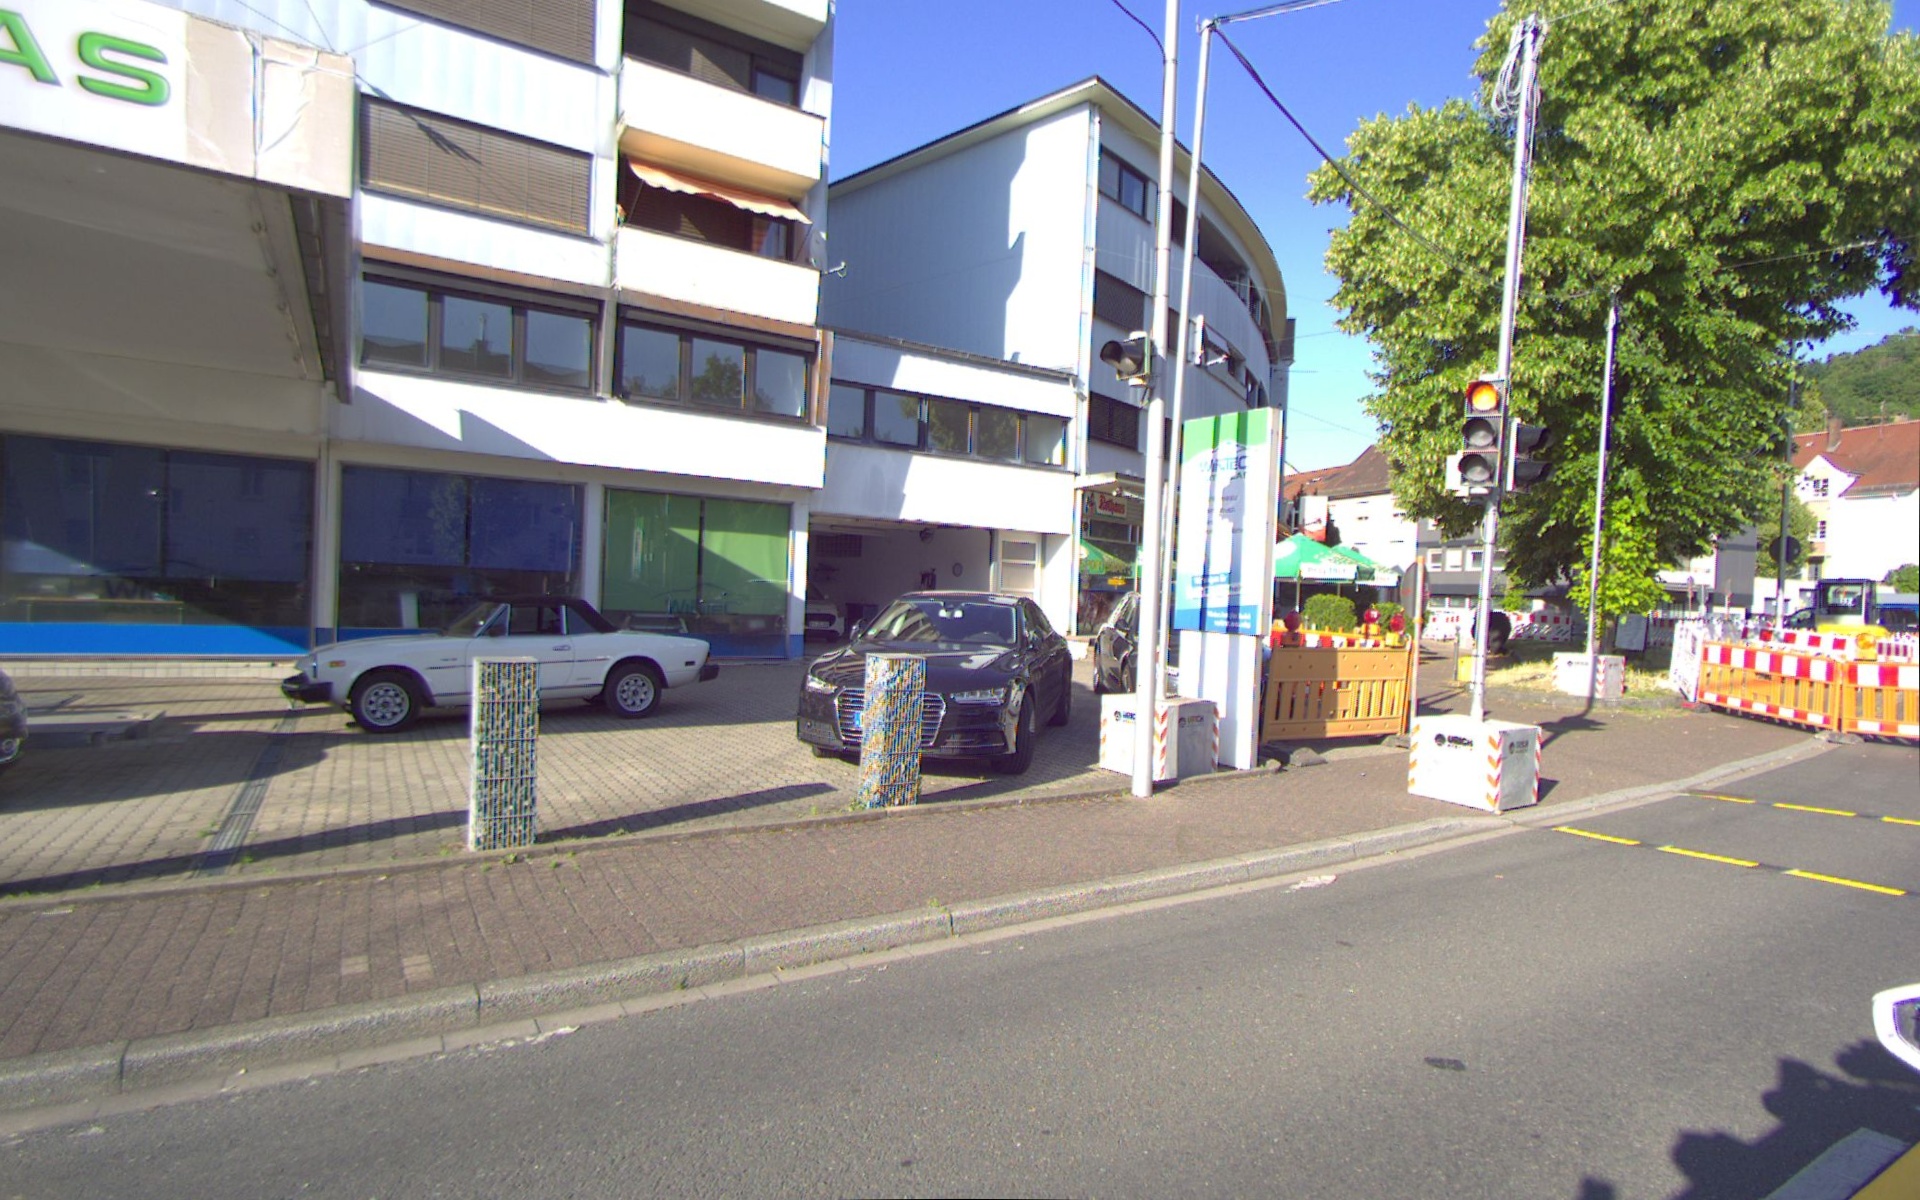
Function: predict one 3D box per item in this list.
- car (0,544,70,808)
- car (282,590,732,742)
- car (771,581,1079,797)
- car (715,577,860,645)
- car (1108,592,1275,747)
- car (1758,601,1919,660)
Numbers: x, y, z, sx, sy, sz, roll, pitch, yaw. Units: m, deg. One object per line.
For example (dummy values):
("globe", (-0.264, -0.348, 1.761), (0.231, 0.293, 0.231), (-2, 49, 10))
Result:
("car", (-7.479, 0.395, 5.864), (3.325, 1.589, 1.623), (2, 1, 8))
("car", (-4.637, 0.580, 10.535), (4.097, 1.301, 1.576), (0, 1, -35))
("car", (-0.040, 0.600, 9.472), (1.872, 1.474, 4.315), (3, 1, 12))
("car", (-4.250, 0.229, 24.287), (1.980, 1.486, 3.961), (1, 0, -34))
("car", (2.809, 0.684, 12.445), (1.617, 1.474, 4.301), (3, 1, 12))
("car", (33.864, 1.091, 38.726), (2.029, 2.040, 4.998), (2, 0, -3))
